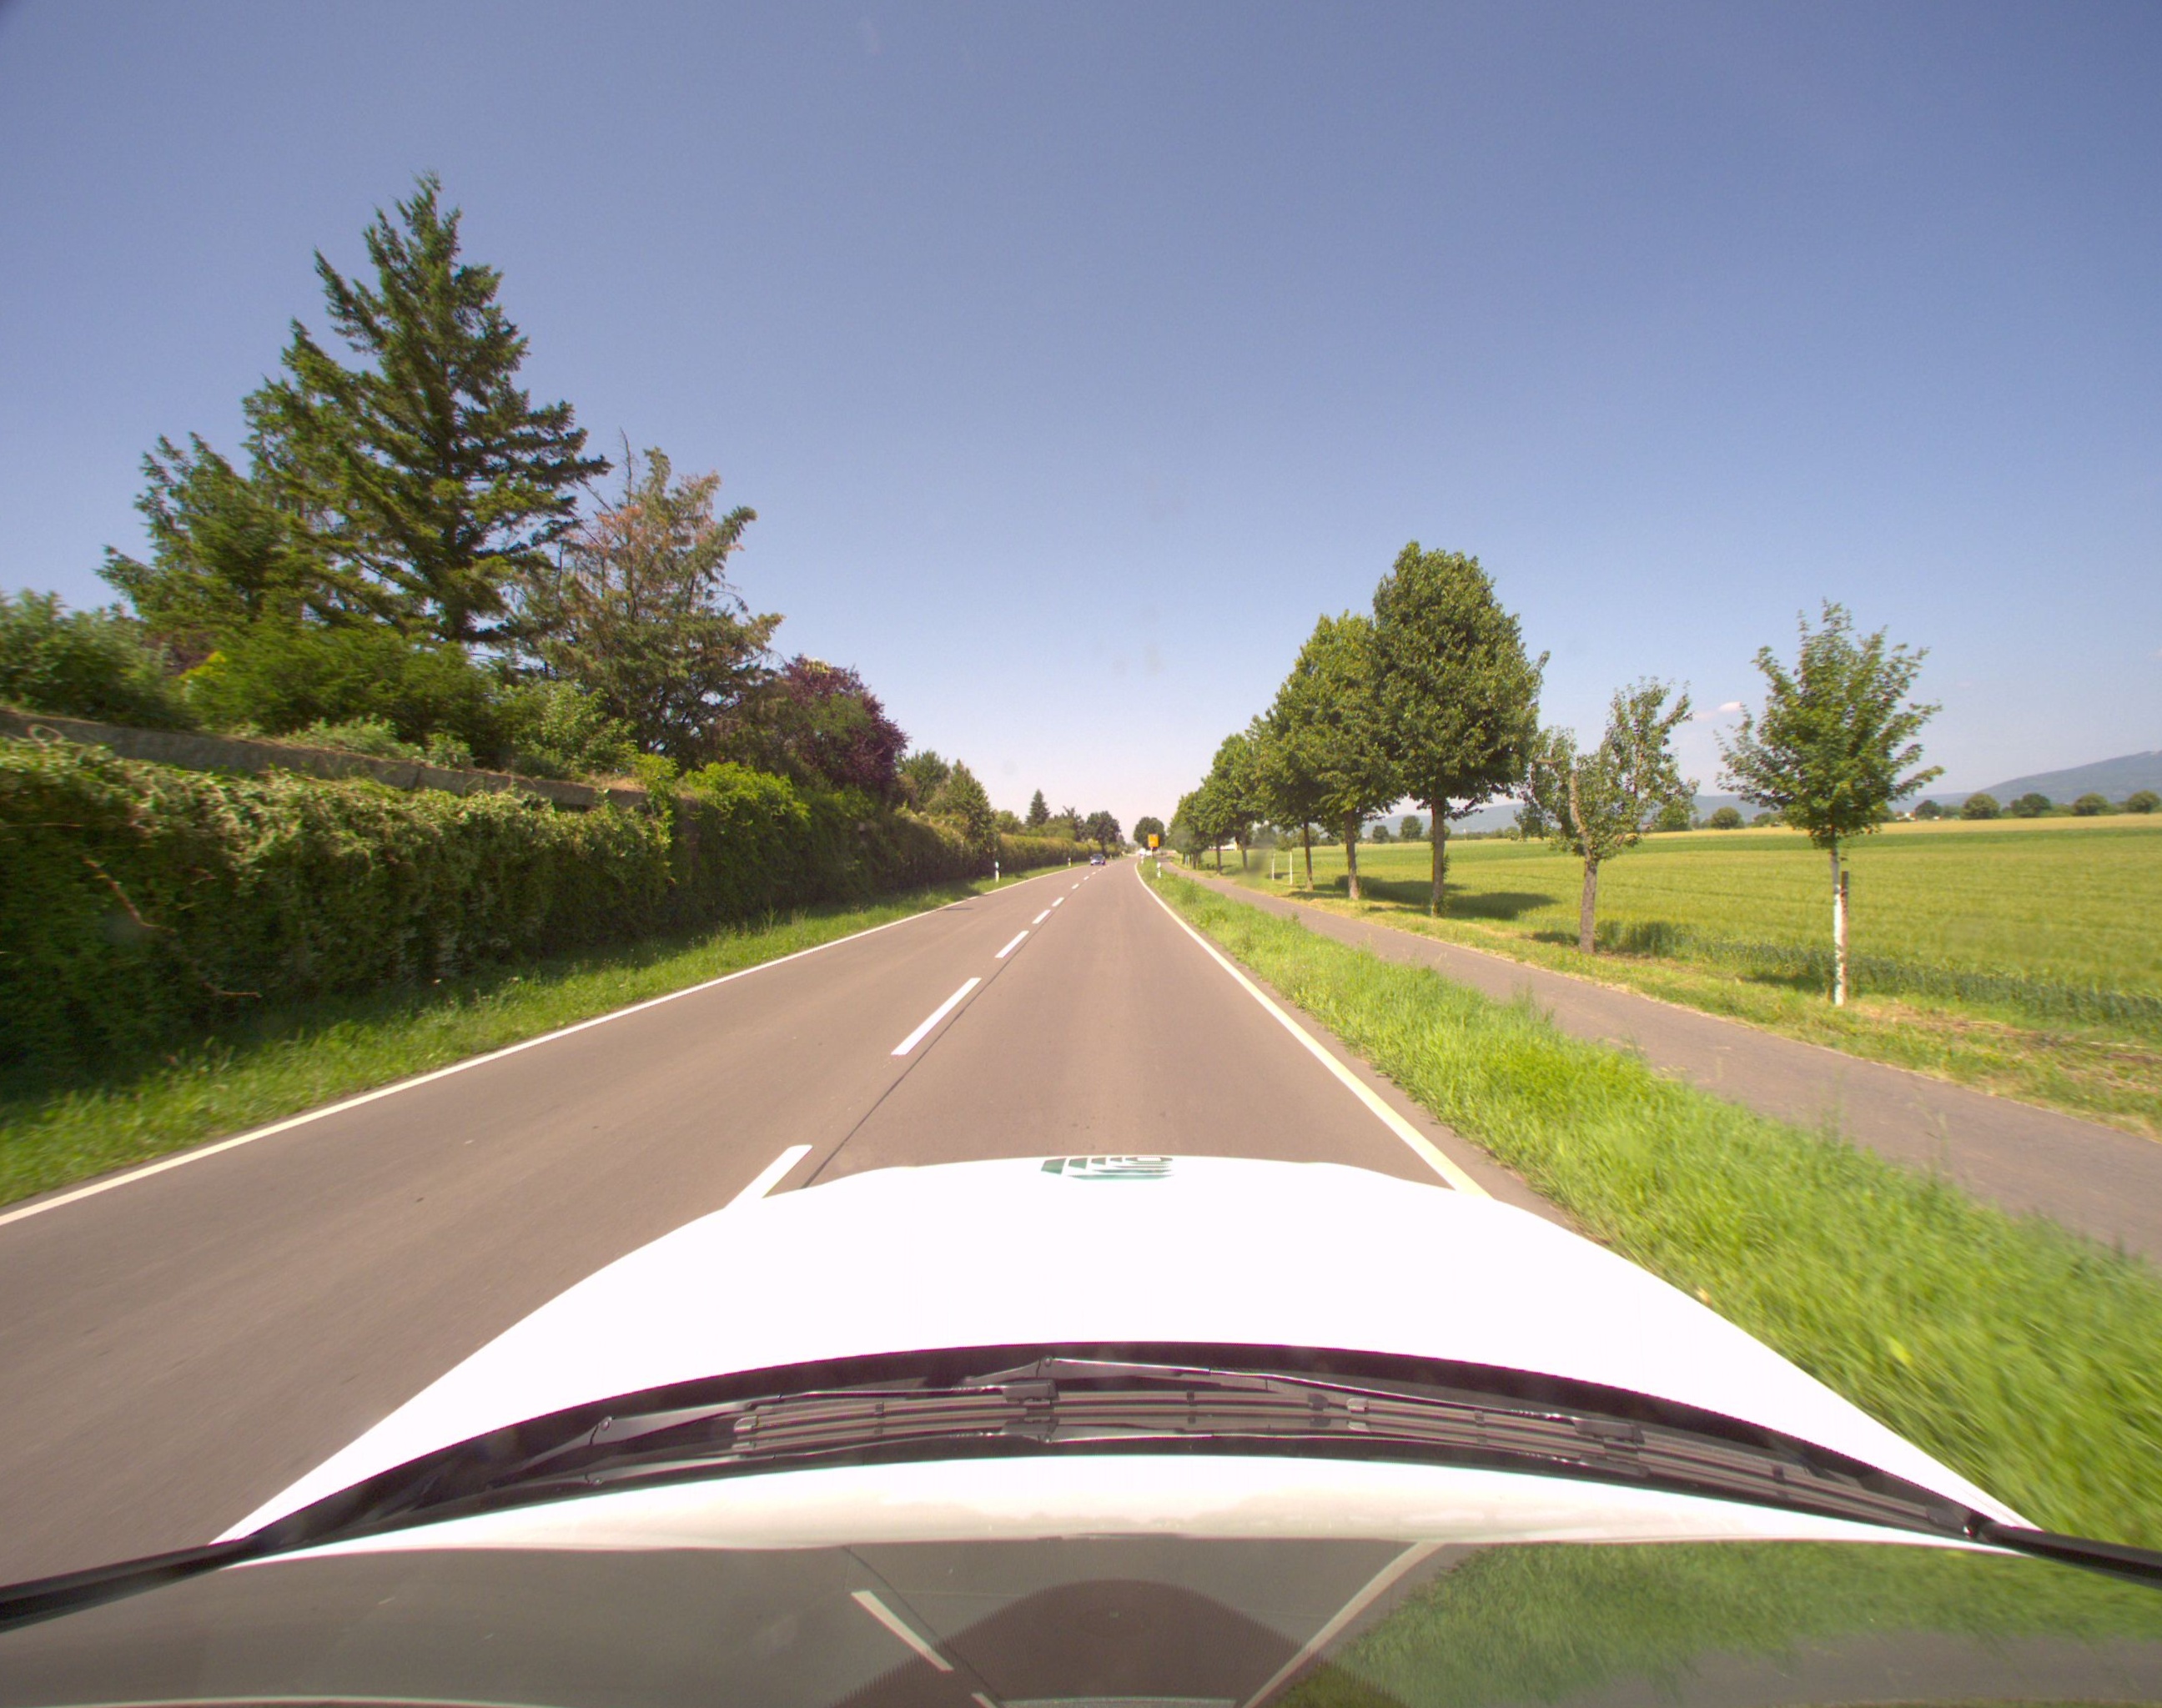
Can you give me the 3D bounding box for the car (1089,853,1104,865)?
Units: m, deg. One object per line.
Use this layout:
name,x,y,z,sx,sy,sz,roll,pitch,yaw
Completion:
car,2.078,0.652,106.058,1.833,1.467,3.934,-2,0,1
